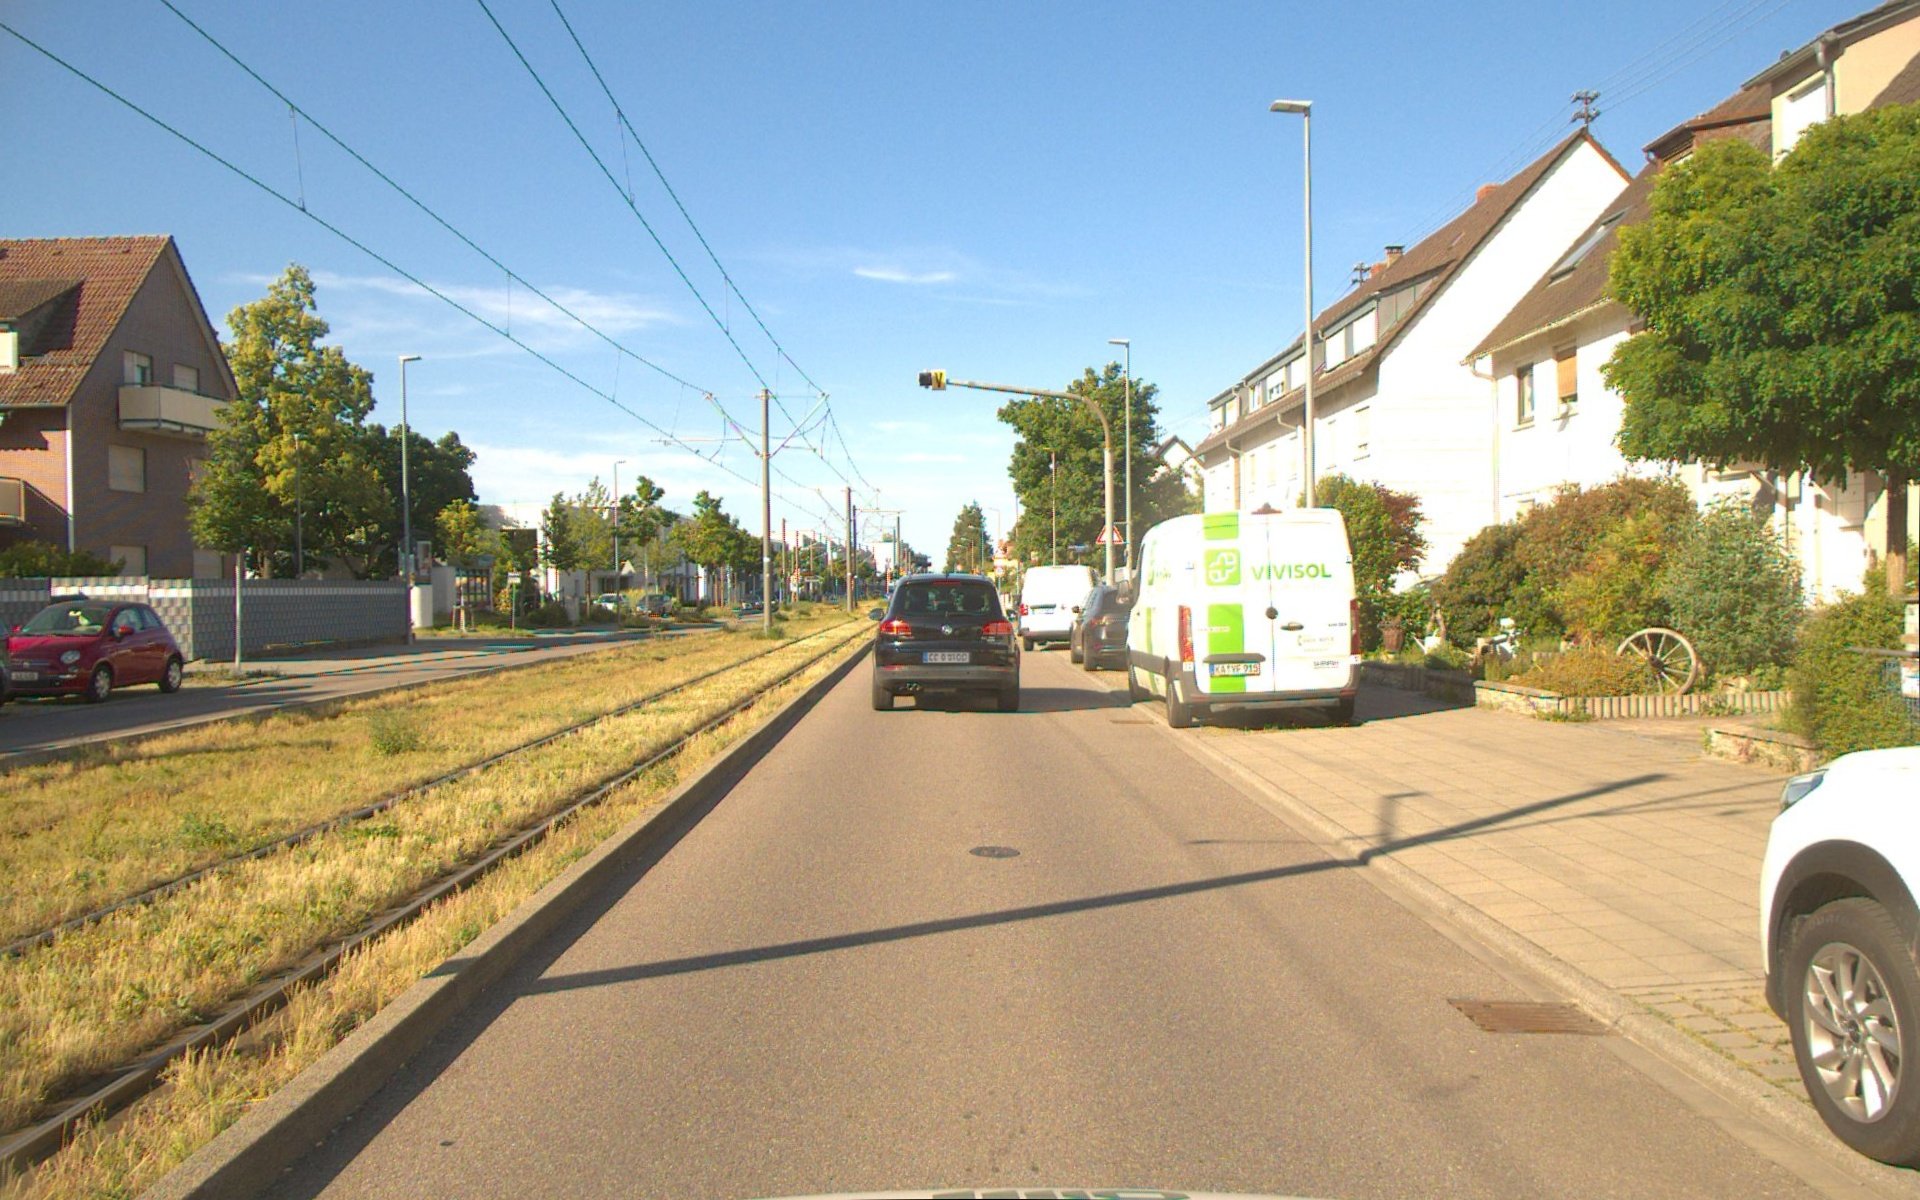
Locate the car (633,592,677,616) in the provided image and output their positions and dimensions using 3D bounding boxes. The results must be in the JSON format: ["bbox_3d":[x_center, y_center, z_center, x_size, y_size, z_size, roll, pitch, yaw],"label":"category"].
[{"bbox_3d":[-19.466,0.244,105.704,1.772,1.486,4.319,0,0,3],"label":"car"}]

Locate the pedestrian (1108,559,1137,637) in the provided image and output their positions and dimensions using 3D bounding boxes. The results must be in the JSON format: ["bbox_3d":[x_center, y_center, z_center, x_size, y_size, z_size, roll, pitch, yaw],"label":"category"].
[{"bbox_3d":[4.074,-0.052,41.417,0.684,1.945,0.759,0,0,8],"label":"pedestrian"}]

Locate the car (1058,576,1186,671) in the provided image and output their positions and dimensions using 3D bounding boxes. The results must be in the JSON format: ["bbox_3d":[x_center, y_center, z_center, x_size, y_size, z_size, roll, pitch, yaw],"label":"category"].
[{"bbox_3d":[2.885,0.389,30.464,1.713,1.520,5.154,-3,0,-1],"label":"car"}]

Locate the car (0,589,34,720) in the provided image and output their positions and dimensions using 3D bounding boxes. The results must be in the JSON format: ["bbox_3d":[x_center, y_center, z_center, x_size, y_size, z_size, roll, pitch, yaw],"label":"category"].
[{"bbox_3d":[-13.457,0.726,20.023,1.782,1.714,4.845,1,0,-1],"label":"car"}]

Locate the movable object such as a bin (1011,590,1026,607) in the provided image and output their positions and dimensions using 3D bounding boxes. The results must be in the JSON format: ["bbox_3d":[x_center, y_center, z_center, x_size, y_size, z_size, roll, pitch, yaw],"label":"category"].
[{"bbox_3d":[3.877,-0.104,109.494,0.955,1.130,1.171,-1,0,3],"label":"movable object such as a bin"}]

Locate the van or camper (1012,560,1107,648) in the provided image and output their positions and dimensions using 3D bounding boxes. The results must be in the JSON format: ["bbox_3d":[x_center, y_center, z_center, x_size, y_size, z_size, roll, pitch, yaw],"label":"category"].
[{"bbox_3d":[2.538,0.048,40.926,1.985,1.990,5.299,-1,1,7],"label":"van or camper"}]

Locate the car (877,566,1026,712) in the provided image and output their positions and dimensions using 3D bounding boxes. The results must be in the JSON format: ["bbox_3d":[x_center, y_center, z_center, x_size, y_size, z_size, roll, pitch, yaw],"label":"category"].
[{"bbox_3d":[-0.193,0.456,21.375,1.740,1.699,3.998,0,0,-3],"label":"car"}]

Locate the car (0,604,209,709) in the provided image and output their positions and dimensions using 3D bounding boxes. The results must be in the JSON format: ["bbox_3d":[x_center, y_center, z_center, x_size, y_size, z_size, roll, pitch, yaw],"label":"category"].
[{"bbox_3d":[-13.604,0.829,26.081,1.661,1.429,4.078,-1,1,0],"label":"car"}]

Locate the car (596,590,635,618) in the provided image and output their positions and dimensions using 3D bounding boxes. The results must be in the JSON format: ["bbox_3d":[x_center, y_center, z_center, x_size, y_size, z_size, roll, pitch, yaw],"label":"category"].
[{"bbox_3d":[-19.283,0.217,92.706,1.513,1.517,3.774,0,0,-2],"label":"car"}]

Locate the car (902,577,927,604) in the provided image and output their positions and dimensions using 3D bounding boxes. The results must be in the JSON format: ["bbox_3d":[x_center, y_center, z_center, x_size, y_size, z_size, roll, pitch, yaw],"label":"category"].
[{"bbox_3d":[-4.450,-0.921,162.177,2.346,2.609,5.528,-1,0,-1],"label":"car"}]

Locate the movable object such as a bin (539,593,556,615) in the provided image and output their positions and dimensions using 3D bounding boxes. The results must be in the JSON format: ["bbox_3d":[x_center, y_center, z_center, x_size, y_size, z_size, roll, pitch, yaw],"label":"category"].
[{"bbox_3d":[-26.739,0.253,107.228,0.650,1.458,1.255,0,0,7],"label":"movable object such as a bin"}]

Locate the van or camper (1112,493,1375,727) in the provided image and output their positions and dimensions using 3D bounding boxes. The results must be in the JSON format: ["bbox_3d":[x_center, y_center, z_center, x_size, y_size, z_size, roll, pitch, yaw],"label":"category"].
[{"bbox_3d":[3.193,0.093,20.101,1.953,2.310,6.303,-3,0,-1],"label":"van or camper"}]

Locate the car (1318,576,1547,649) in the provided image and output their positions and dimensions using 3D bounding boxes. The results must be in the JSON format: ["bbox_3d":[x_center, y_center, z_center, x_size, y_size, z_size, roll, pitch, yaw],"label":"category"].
[{"bbox_3d":[10.672,0.283,37.556,4.617,1.503,1.906,-1,0,-3],"label":"car"}]

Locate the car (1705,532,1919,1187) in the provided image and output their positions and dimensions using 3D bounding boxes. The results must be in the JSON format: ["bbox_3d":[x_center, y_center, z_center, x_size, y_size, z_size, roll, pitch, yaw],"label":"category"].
[{"bbox_3d":[3.295,0.630,3.141,1.690,1.674,4.317,-2,0,-1],"label":"car"}]

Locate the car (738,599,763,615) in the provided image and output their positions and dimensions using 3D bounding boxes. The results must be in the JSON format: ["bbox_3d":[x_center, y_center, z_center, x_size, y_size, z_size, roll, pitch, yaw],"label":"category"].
[{"bbox_3d":[-19.466,0.629,153.994,1.653,1.413,4.388,-3,0,1],"label":"car"}]
